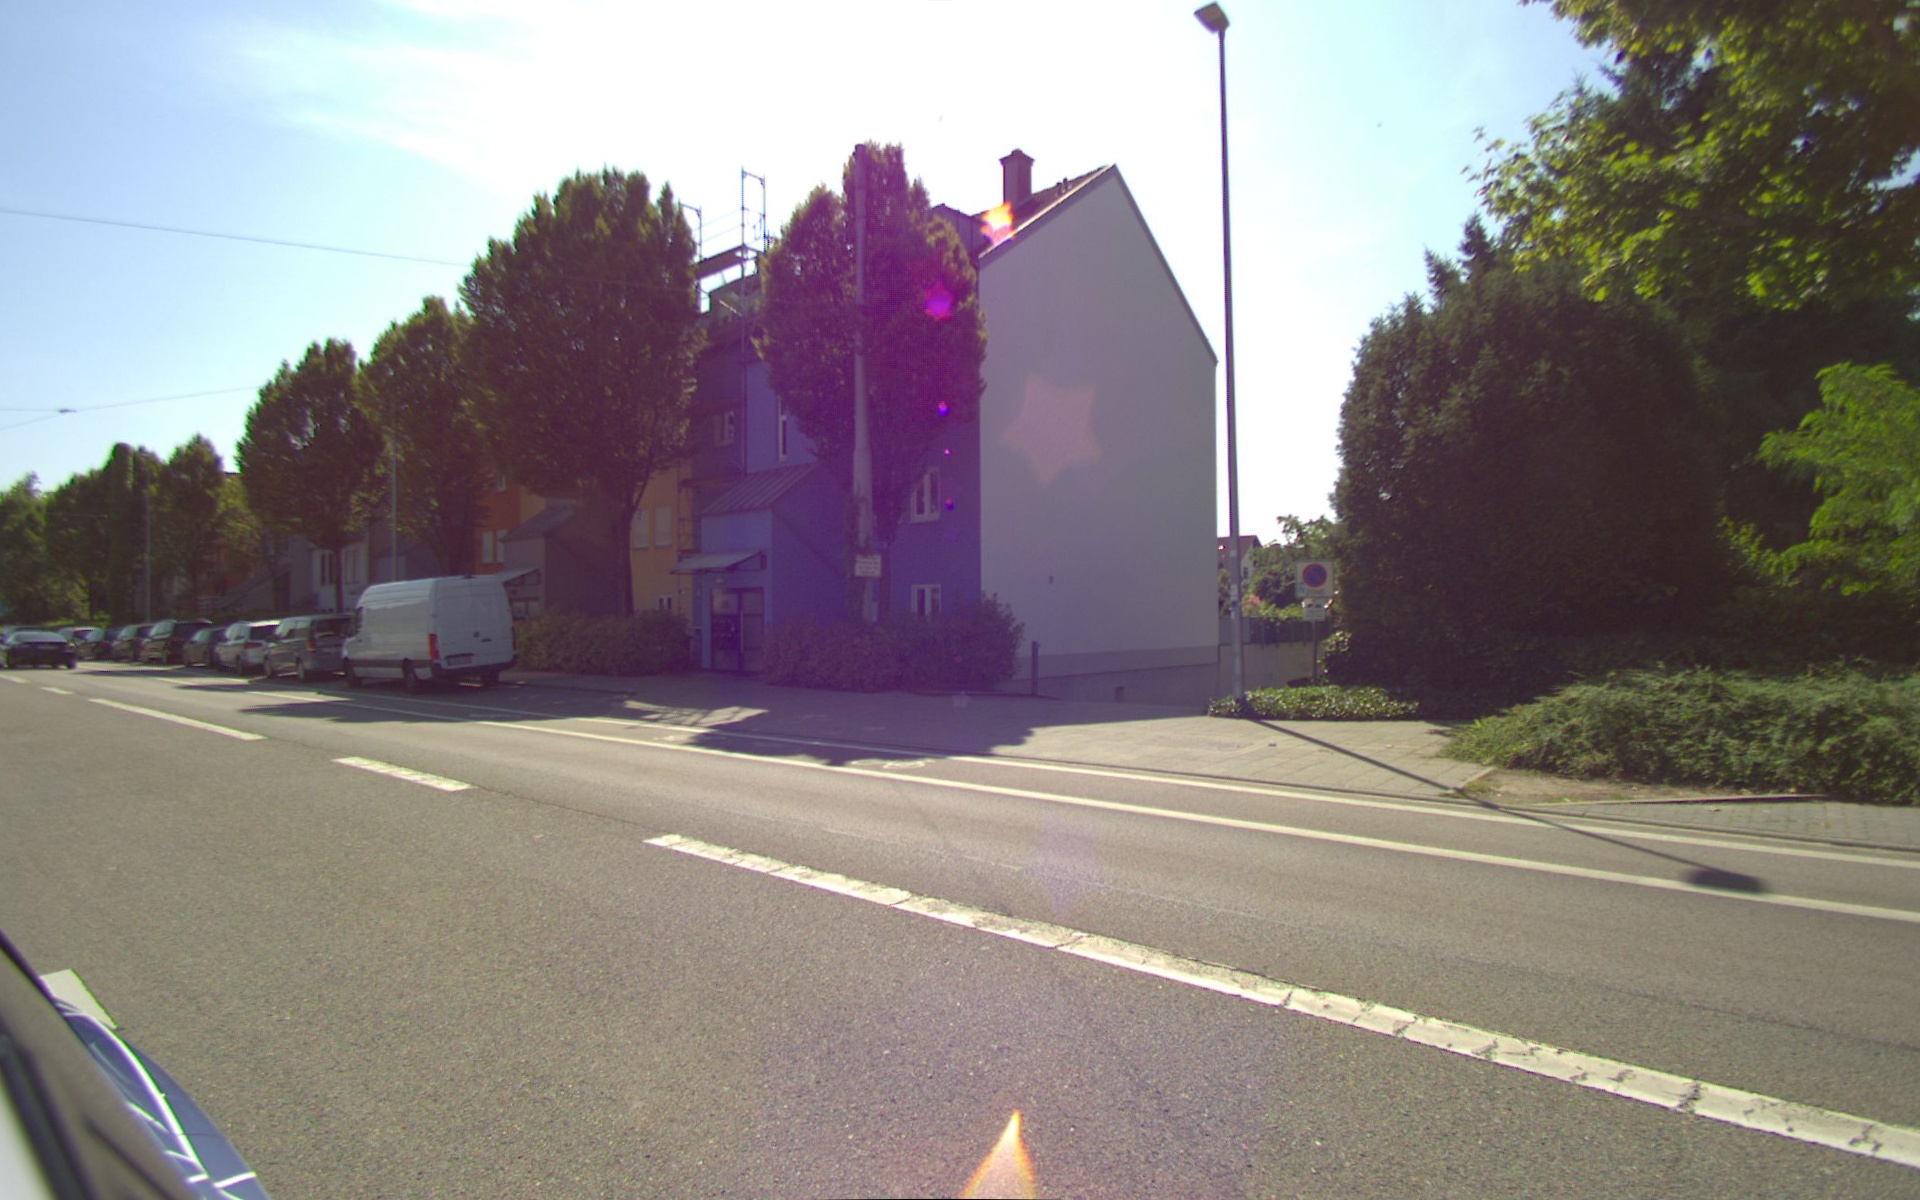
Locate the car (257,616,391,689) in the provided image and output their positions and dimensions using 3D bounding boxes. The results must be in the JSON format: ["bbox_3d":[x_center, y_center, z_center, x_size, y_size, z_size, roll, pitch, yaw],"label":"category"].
[{"bbox_3d":[-19.110,1.511,30.315,4.964,1.879,1.973,-2,3,42],"label":"car"}]

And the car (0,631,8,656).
[{"bbox_3d":[-61.190,2.720,62.970,4.123,1.510,2.016,-1,0,35],"label":"car"}]

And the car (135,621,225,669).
[{"bbox_3d":[-31.484,1.782,40.797,4.344,1.741,1.812,-1,1,38],"label":"car"}]

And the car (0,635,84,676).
[{"bbox_3d":[-30.101,1.783,33.070,4.062,1.254,1.670,-2,-3,41],"label":"car"}]

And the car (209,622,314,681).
[{"bbox_3d":[-23.428,1.674,33.892,4.539,1.715,1.829,-1,2,42],"label":"car"}]

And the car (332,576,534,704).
[{"bbox_3d":[-13.143,0.914,24.931,7.084,2.697,1.973,-2,2,42],"label":"car"}]

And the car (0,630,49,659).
[{"bbox_3d":[-54.782,2.548,58.638,4.920,1.588,1.889,-1,0,35],"label":"car"}]

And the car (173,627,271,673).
[{"bbox_3d":[-27.498,1.817,37.666,4.070,1.466,1.849,-1,2,38],"label":"car"}]

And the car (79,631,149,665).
[{"bbox_3d":[-40.202,2.251,48.067,4.208,1.481,1.661,-1,0,38],"label":"car"}]

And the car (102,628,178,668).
[{"bbox_3d":[-35.813,2.045,44.152,4.160,1.619,1.661,-1,0,38],"label":"car"}]
